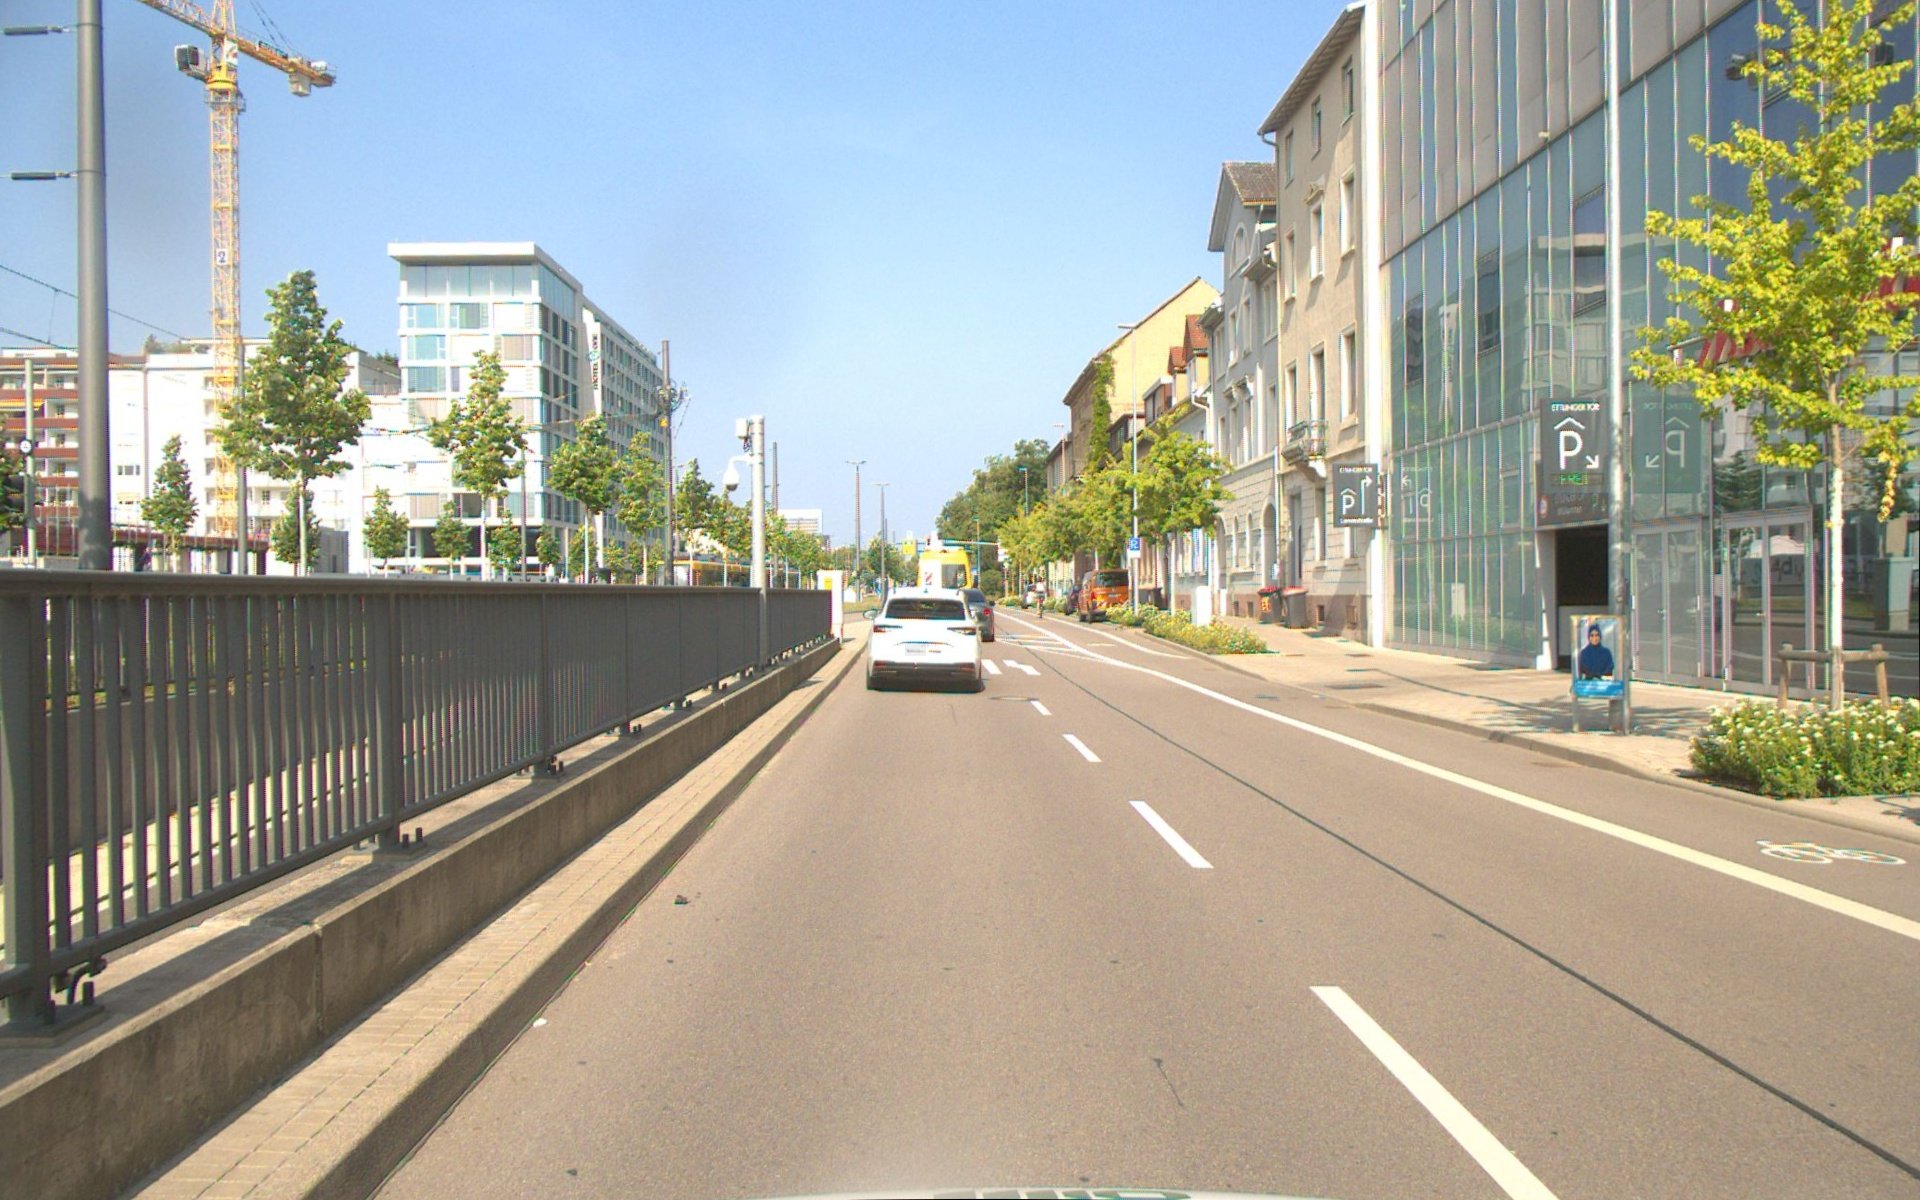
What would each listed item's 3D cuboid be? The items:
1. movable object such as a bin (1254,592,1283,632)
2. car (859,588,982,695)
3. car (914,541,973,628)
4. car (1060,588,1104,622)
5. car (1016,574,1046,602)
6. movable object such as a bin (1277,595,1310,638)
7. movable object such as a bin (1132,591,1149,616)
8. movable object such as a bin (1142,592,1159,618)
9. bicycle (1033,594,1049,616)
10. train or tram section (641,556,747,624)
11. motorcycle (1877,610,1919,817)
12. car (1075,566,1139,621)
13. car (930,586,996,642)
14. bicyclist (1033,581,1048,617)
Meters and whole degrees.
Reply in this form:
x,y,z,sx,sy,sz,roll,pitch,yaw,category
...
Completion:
x,y,z,sx,sy,sz,roll,pitch,yaw,category
9.459,0.365,50.751,0.666,1.172,0.607,-2,3,-45,movable object such as a bin
-0.615,0.615,26.984,1.832,1.602,3.999,-1,0,-1,car
-0.580,-0.617,58.074,1.979,2.844,5.401,-1,2,-1,car
5.727,0.224,78.178,1.640,1.509,4.311,-2,0,-1,car
4.648,-0.799,108.691,1.776,1.844,3.835,0,1,-1,car
9.528,0.455,47.330,0.765,1.192,0.807,0,2,-2,movable object such as a bin
8.827,0.187,80.979,0.725,1.221,0.773,0,0,-2,movable object such as a bin
8.978,0.222,77.951,0.665,1.221,0.781,0,0,-2,movable object such as a bin
3.587,0.232,73.461,0.642,0.955,1.517,0,0,1,bicycle
-15.956,-0.558,101.182,2.845,3.740,18.141,1,0,2,train or tram section
7.365,0.747,11.181,1.934,1.373,0.865,-1,0,-12,motorcycle
5.738,-0.291,65.134,2.021,2.049,4.587,-1,1,-1,car
0.069,0.357,46.209,1.724,1.461,4.115,1,0,-1,car
3.586,-0.045,73.601,0.626,1.604,0.771,0,0,1,bicyclist
